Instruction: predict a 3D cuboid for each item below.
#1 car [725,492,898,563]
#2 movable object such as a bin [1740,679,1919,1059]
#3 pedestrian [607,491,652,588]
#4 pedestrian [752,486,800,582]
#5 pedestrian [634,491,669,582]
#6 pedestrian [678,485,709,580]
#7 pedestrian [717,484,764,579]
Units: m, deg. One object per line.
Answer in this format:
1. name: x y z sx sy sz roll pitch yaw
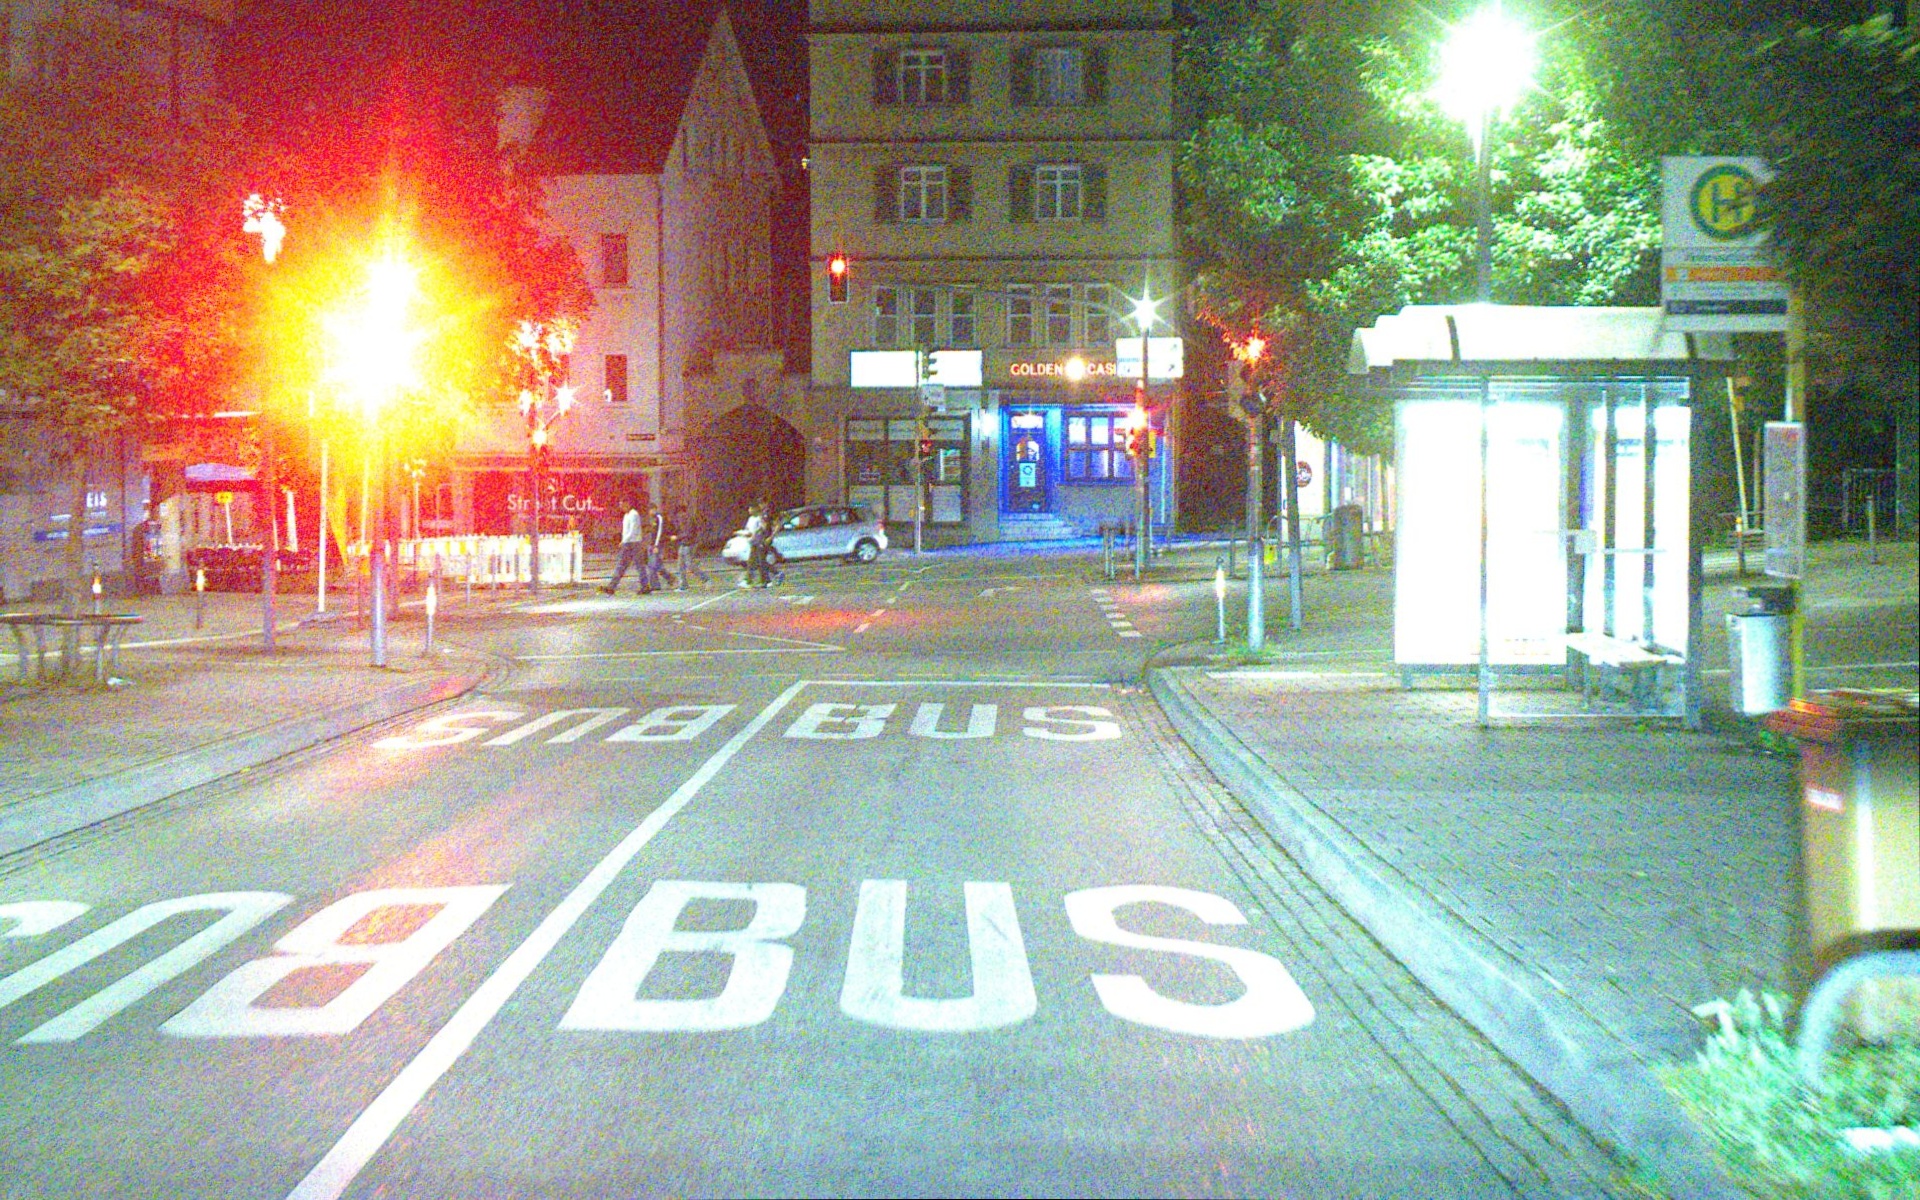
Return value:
1. car: -3.550 -1.715 81.986 3.751 1.612 1.835 1 0 -17
2. movable object such as a bin: 2.412 0.684 8.954 0.524 0.934 0.629 1 0 -10
3. pedestrian: -6.197 -1.135 64.510 0.716 1.789 0.569 1 0 5
4. pedestrian: -3.488 -1.248 65.008 0.734 1.789 0.718 1 0 -16
5. pedestrian: -6.069 -1.245 67.677 0.567 1.789 0.718 1 0 -13
6. pedestrian: -5.075 -1.276 65.446 0.567 1.789 0.718 1 0 -4
7. pedestrian: -4.182 -1.299 65.460 0.568 1.789 0.718 1 0 -40
